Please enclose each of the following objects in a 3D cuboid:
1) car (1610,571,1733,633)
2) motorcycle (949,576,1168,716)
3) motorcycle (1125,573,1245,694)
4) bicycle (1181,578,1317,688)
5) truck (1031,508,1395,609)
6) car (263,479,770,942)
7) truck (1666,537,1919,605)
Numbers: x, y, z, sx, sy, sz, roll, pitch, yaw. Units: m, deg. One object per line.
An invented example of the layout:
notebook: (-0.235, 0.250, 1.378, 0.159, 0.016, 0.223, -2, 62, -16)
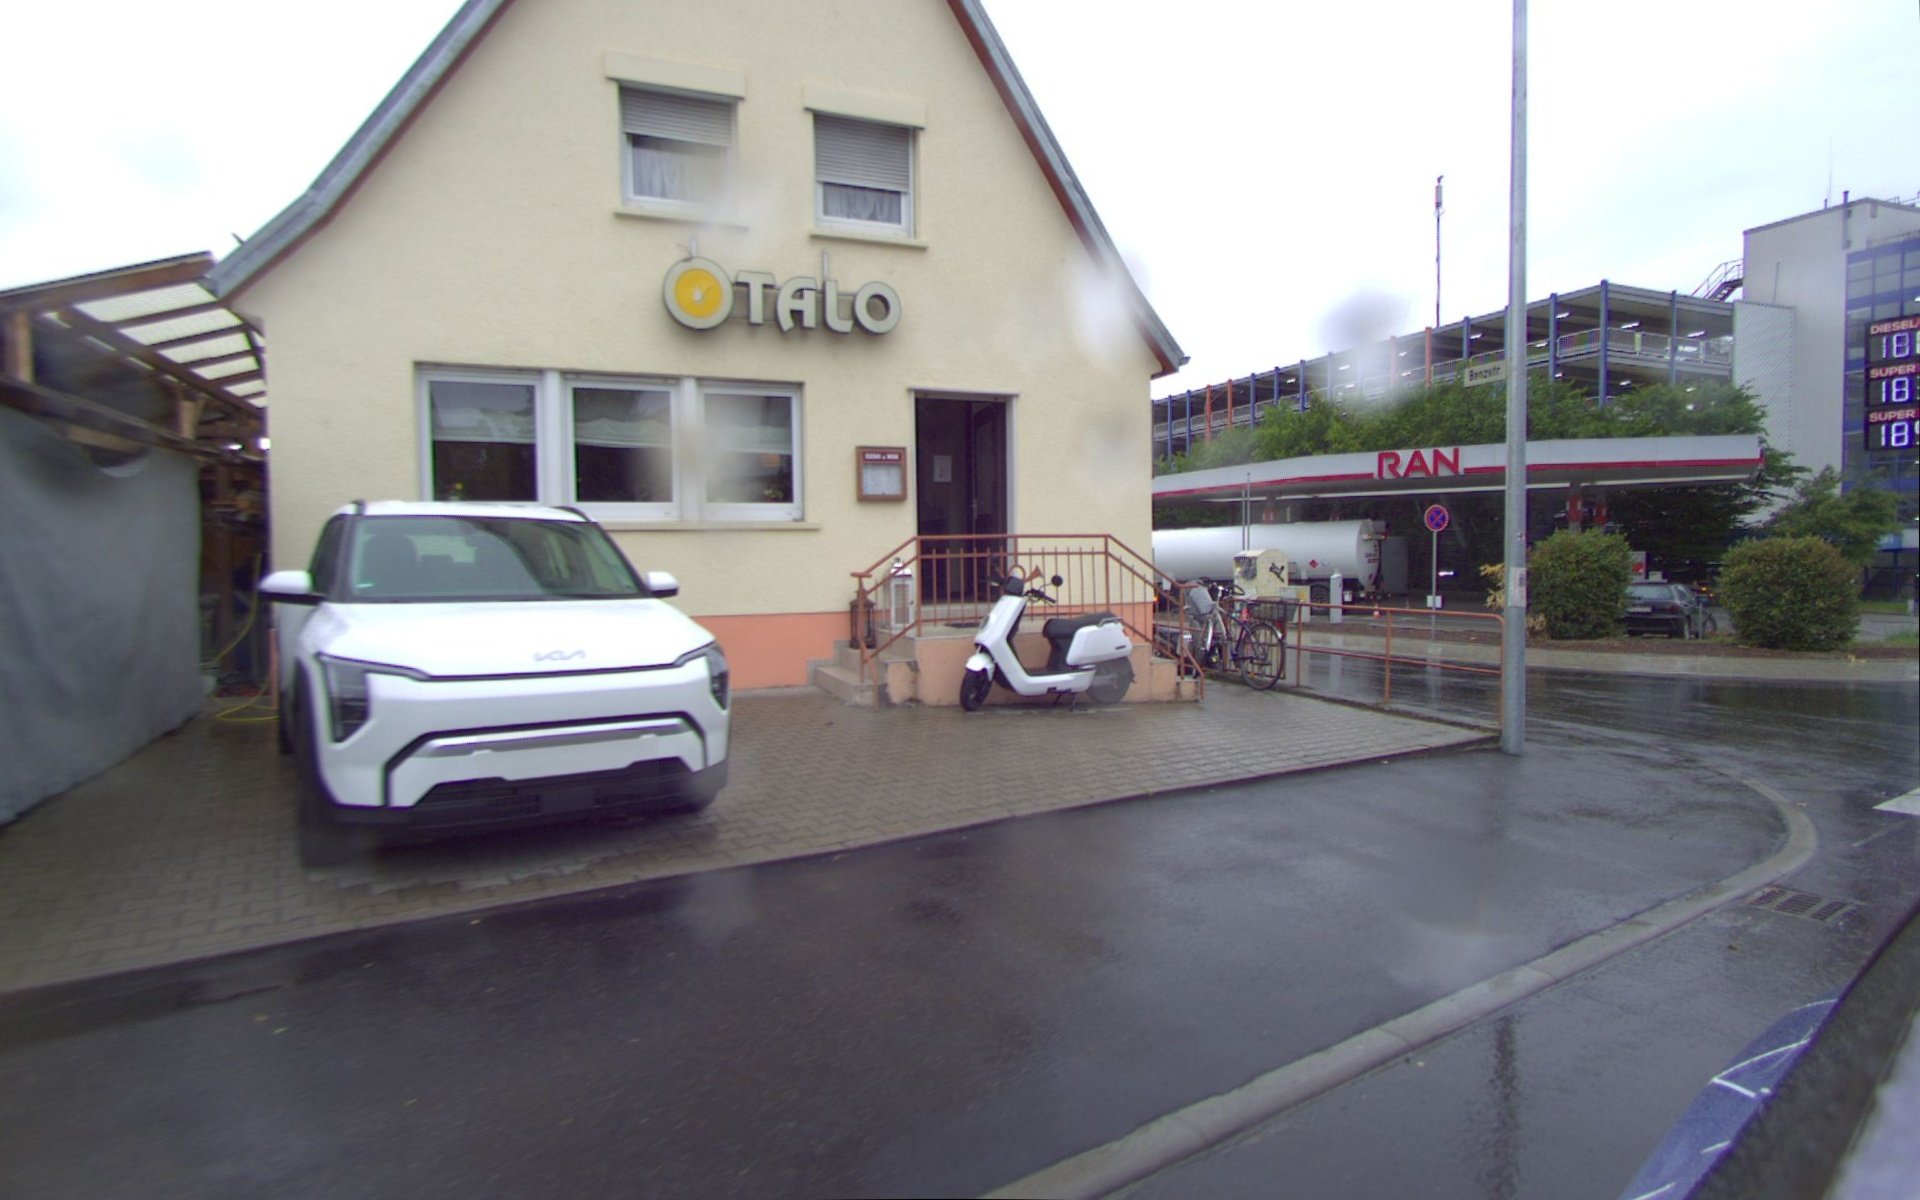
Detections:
car: (17.502, -0.015, 24.817, 4.269, 1.356, 1.690, -2, 3, -44)
motorcycle: (0.882, 0.359, 8.751, 1.960, 1.109, 0.490, 0, 1, -30)
motorcycle: (2.931, 0.388, 13.411, 0.479, 1.474, 2.044, -1, 2, -21)
bicycle: (3.129, 0.313, 11.128, 0.479, 1.109, 1.780, 0, 1, -20)
truck: (9.360, -1.463, 40.042, 14.350, 3.402, 2.608, 1, 0, 41)
car: (-2.824, 0.233, 5.791, 1.826, 1.629, 4.232, -2, 5, -35)
truck: (30.915, -1.139, 37.631, 2.048, 2.234, 7.295, 2, 2, -39)
